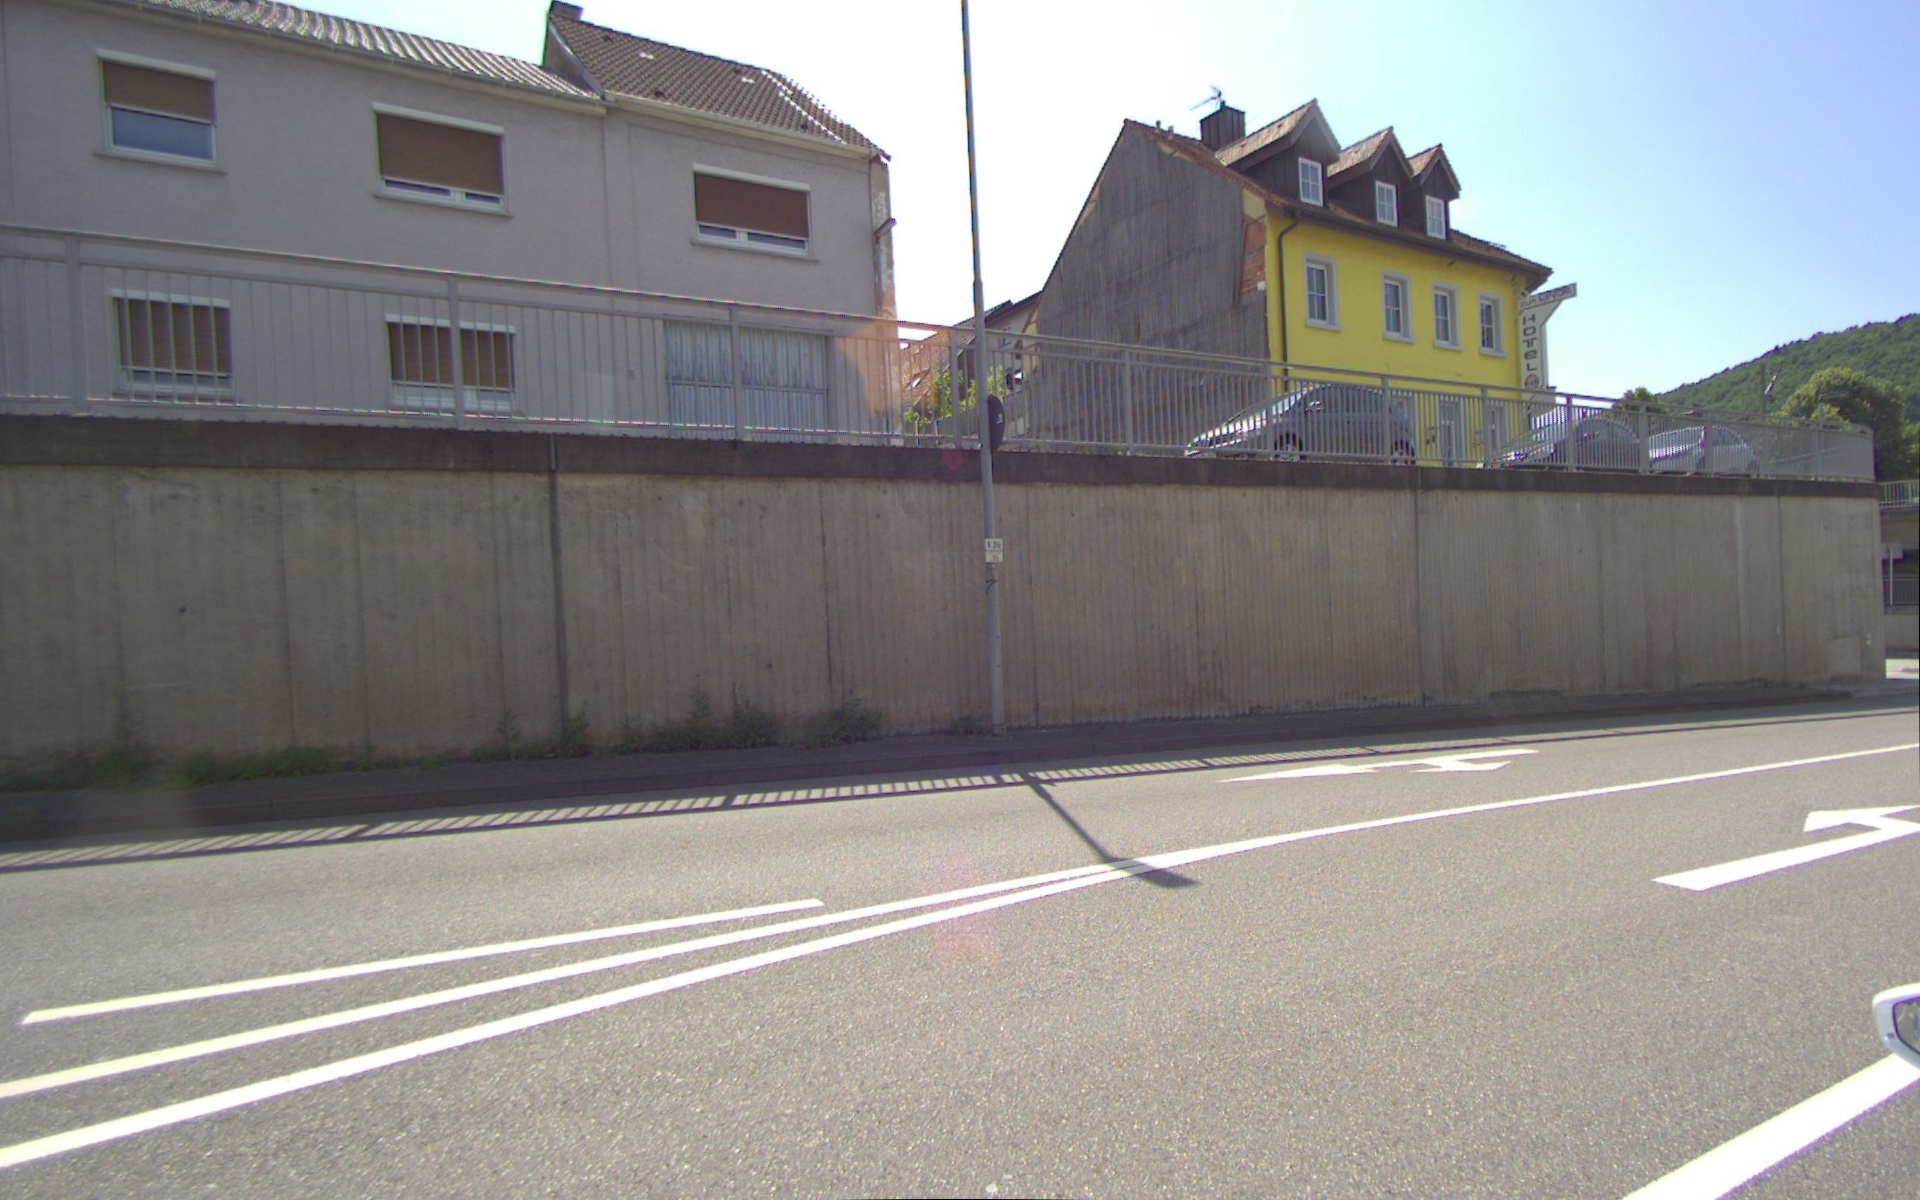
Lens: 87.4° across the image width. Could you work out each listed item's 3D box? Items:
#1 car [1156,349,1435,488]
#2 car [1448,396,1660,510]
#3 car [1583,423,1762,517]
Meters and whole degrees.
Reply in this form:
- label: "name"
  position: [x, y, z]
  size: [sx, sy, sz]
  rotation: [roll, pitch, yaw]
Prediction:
- label: "car"
  position: [5.297, -2.703, 15.682]
  size: [4.344, 1.545, 1.789]
  rotation: [-2, 0, -32]
- label: "car"
  position: [11.520, -2.728, 19.414]
  size: [4.175, 1.728, 1.812]
  rotation: [-2, 0, -32]
- label: "car"
  position: [15.999, -2.830, 22.529]
  size: [3.955, 1.690, 1.892]
  rotation: [-2, 0, -32]
